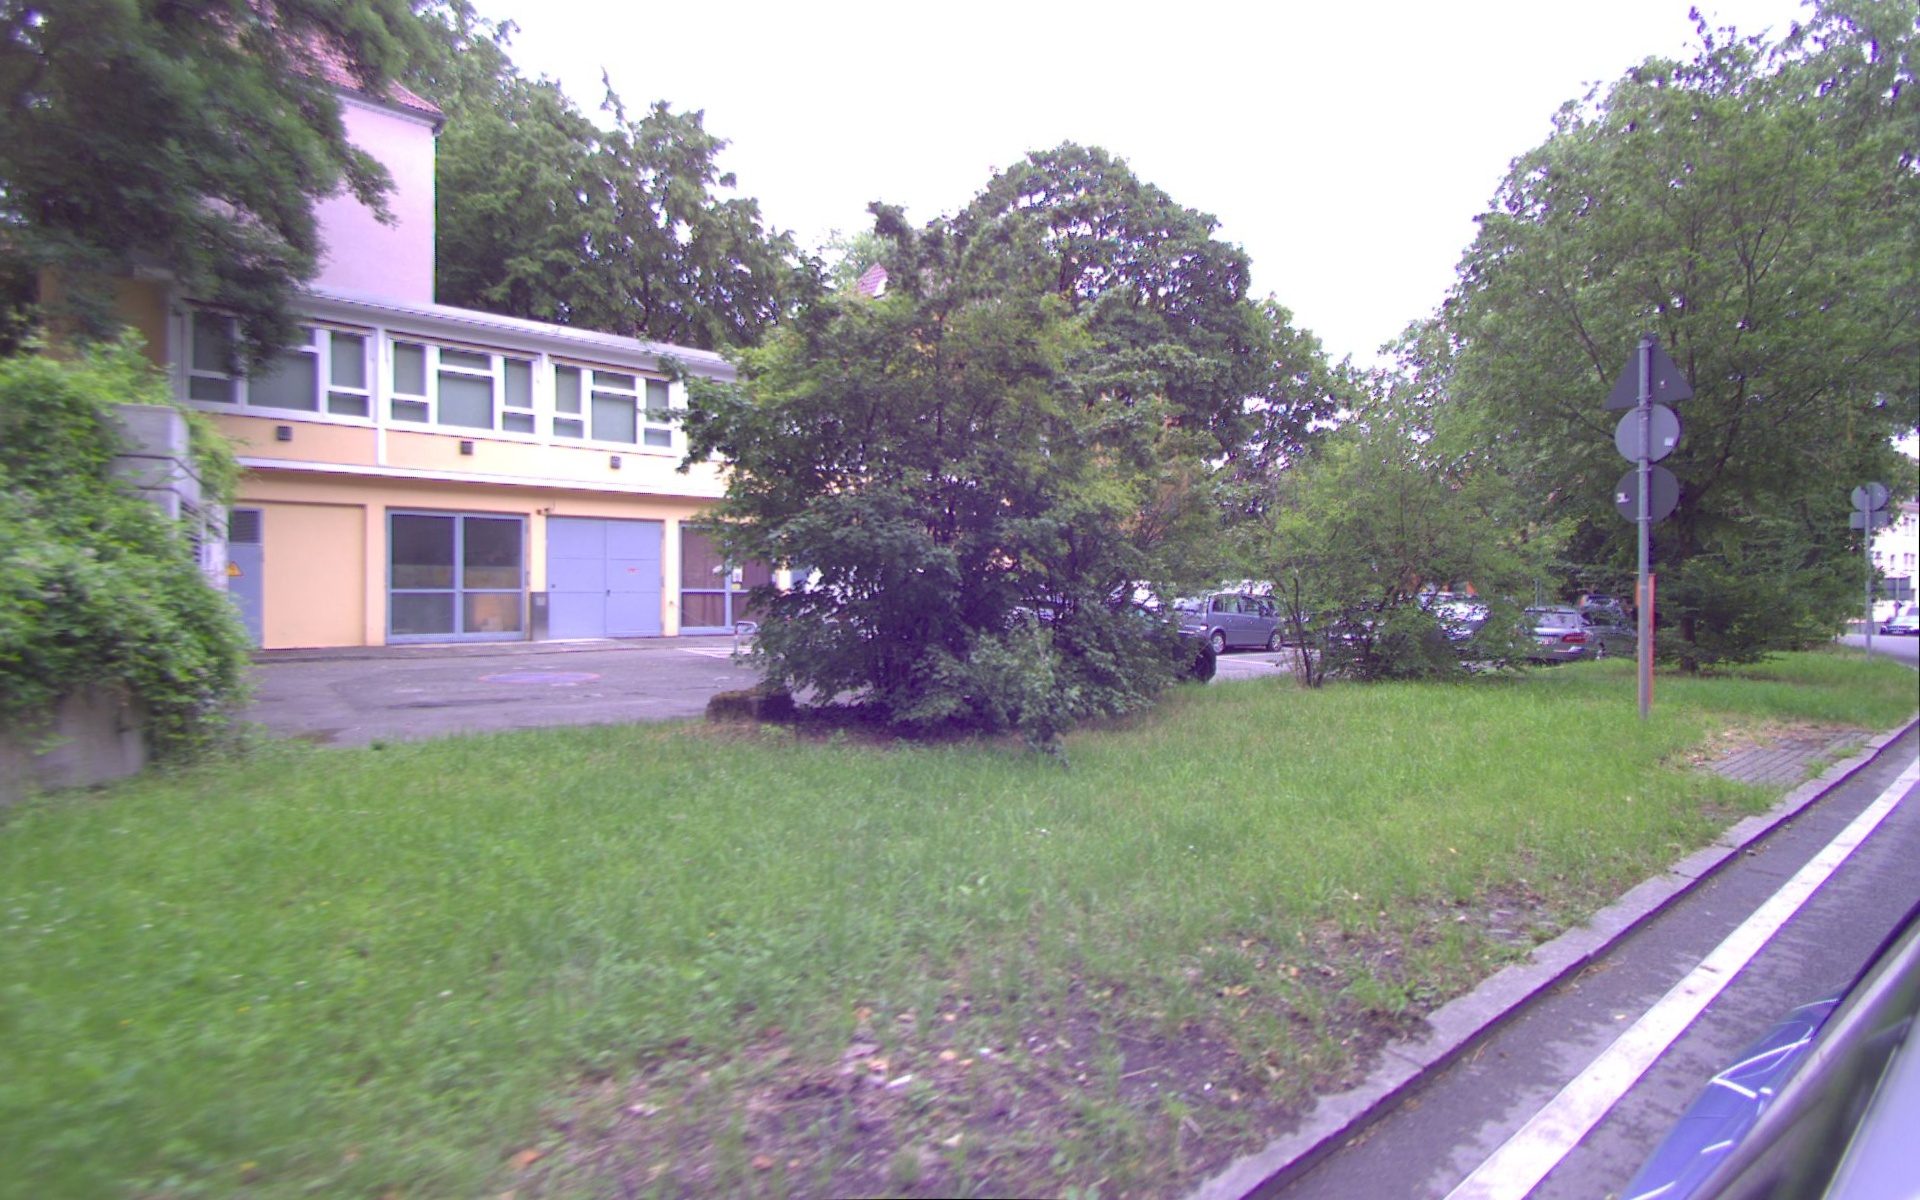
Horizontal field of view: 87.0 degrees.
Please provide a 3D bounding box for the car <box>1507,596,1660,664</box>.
[{"bbox_3d":[15.186,0.677,24.536,4.975,1.460,1.788,1,1,-42],"label":"car"}]

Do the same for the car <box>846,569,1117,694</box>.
[{"bbox_3d":[0.502,0.459,17.766,4.800,1.902,1.859,0,1,-42],"label":"car"}]

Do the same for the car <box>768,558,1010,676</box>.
[{"bbox_3d":[-1.281,0.272,19.593,4.482,2.040,1.860,0,0,-40],"label":"car"}]

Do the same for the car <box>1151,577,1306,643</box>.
[{"bbox_3d":[7.143,0.283,26.803,3.930,1.460,1.812,5,-2,-36],"label":"car"}]

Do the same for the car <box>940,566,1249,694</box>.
[{"bbox_3d":[2.188,0.380,15.764,4.792,1.686,1.815,0,3,-35],"label":"car"}]

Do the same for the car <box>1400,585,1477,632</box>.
[{"bbox_3d":[17.728,0.269,37.399,1.728,1.588,4.075,4,3,37],"label":"car"}]

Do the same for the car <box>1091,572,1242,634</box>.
[{"bbox_3d":[5.921,0.094,28.872,4.163,1.460,1.812,5,-2,-36],"label":"car"}]

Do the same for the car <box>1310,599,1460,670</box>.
[{"bbox_3d":[9.997,0.737,23.694,3.831,1.460,1.746,-1,2,-42],"label":"car"}]

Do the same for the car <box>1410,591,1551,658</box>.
[{"bbox_3d":[13.772,0.597,26.650,4.514,1.578,1.788,1,1,-42],"label":"car"}]

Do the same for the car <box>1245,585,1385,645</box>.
[{"bbox_3d":[10.489,0.426,29.781,4.324,1.614,1.790,1,1,-38],"label":"car"}]

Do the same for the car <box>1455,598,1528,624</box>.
[{"bbox_3d":[34.557,0.685,65.839,4.095,1.446,1.720,3,1,29],"label":"car"}]

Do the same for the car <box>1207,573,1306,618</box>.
[{"bbox_3d":[13.353,-0.237,45.485,4.516,1.909,1.999,-1,2,-38],"label":"car"}]

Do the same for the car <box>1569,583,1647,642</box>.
[{"bbox_3d":[21.292,0.344,33.407,1.799,1.685,4.835,3,3,29],"label":"car"}]

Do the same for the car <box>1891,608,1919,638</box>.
[{"bbox_3d":[55.302,1.362,58.375,3.468,1.612,1.785,2,2,-38],"label":"car"}]

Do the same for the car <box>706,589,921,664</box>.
[{"bbox_3d":[-3.042,0.486,21.554,4.250,1.444,1.799,0,1,-40],"label":"car"}]
